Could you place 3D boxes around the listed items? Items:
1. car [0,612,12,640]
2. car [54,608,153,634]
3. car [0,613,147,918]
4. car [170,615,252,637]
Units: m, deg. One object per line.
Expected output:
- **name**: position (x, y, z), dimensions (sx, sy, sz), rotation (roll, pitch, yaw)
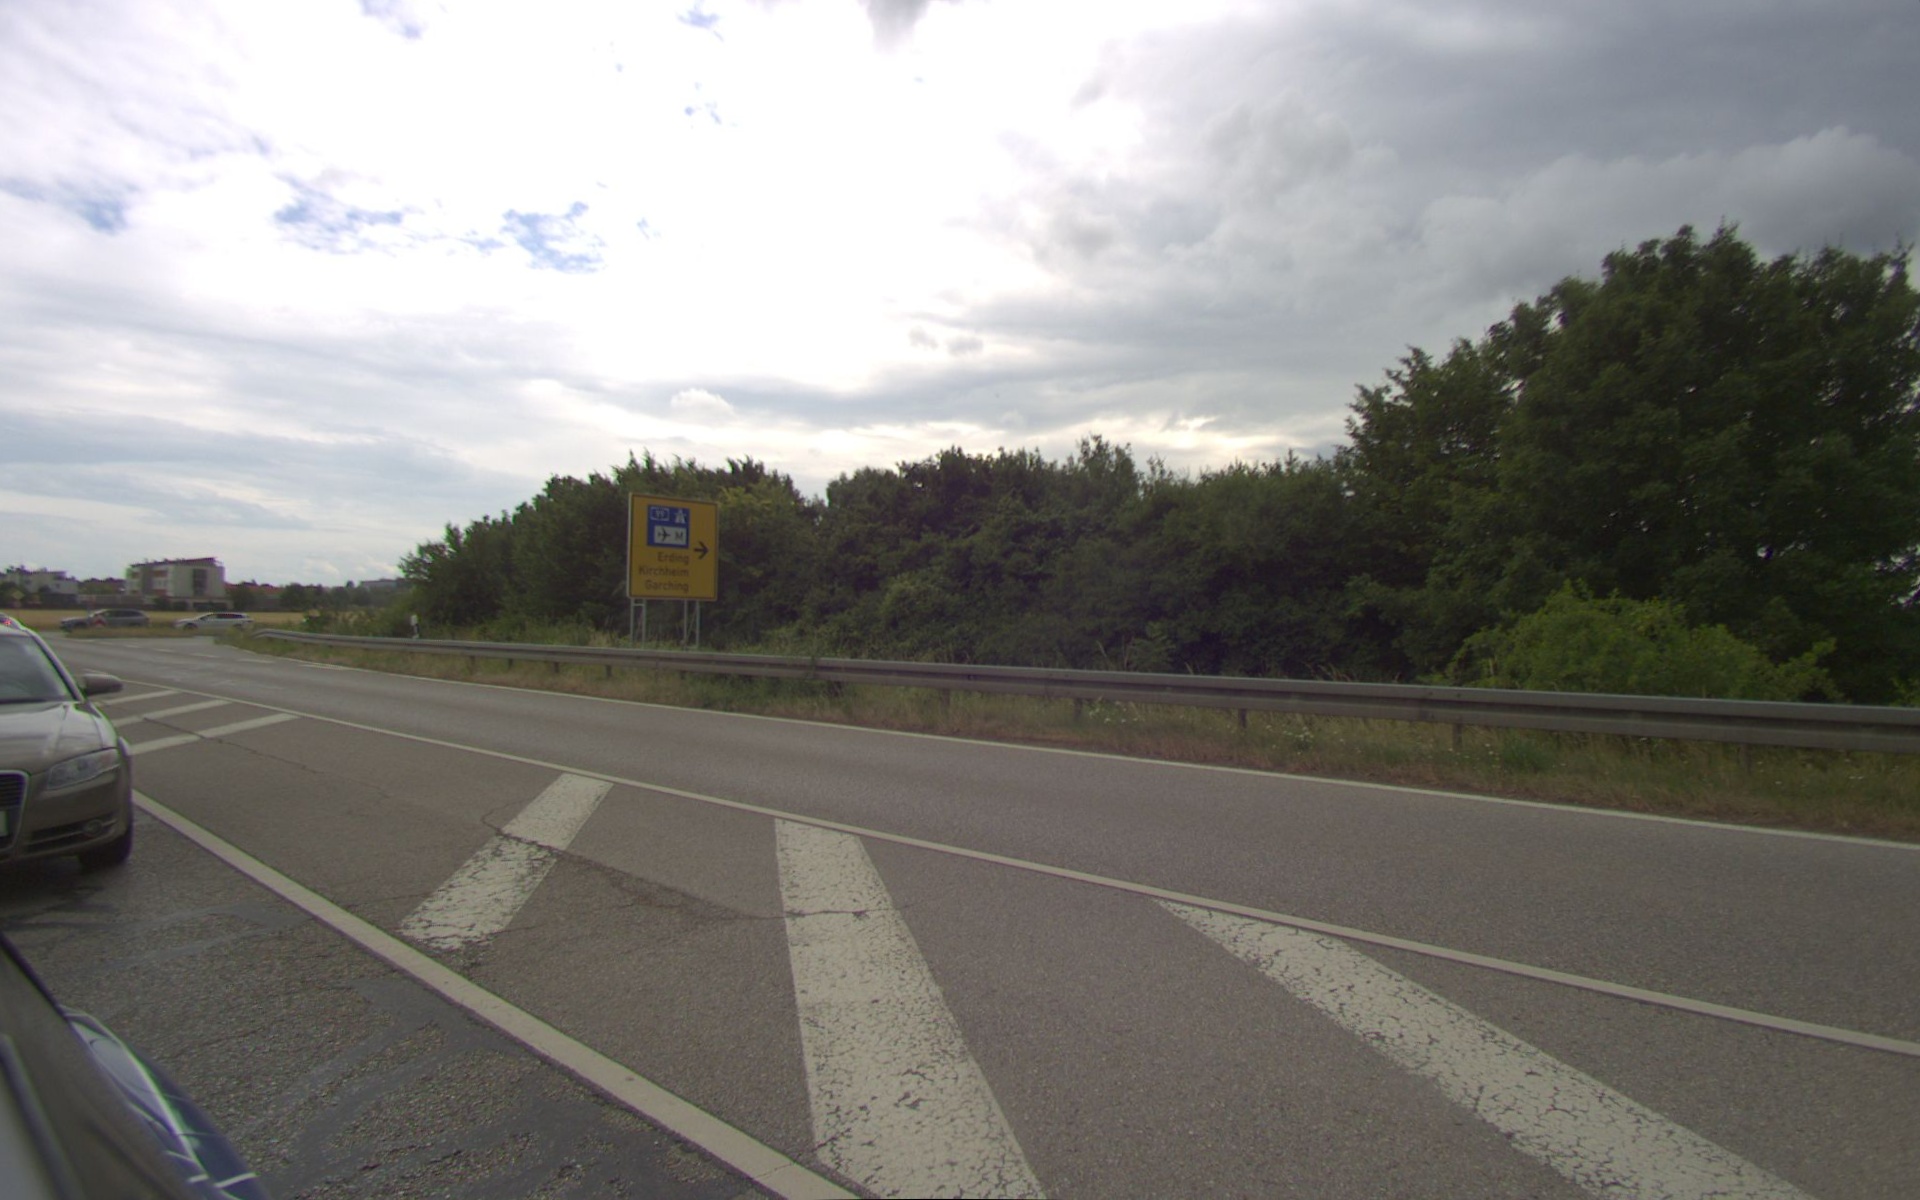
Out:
- **car**: position (-52.169, 1.395, 54.013), dimensions (4.443, 1.461, 1.781), rotation (-1, -1, 41)
- **car**: position (-57.311, 1.372, 67.780), dimensions (1.997, 1.702, 4.757), rotation (-1, -1, 37)
- **car**: position (-6.368, 0.808, 5.998), dimensions (4.202, 1.455, 1.708), rotation (-1, -1, 41)
- **car**: position (-53.411, 1.812, 72.158), dimensions (4.604, 1.510, 2.004), rotation (1, -1, -39)
